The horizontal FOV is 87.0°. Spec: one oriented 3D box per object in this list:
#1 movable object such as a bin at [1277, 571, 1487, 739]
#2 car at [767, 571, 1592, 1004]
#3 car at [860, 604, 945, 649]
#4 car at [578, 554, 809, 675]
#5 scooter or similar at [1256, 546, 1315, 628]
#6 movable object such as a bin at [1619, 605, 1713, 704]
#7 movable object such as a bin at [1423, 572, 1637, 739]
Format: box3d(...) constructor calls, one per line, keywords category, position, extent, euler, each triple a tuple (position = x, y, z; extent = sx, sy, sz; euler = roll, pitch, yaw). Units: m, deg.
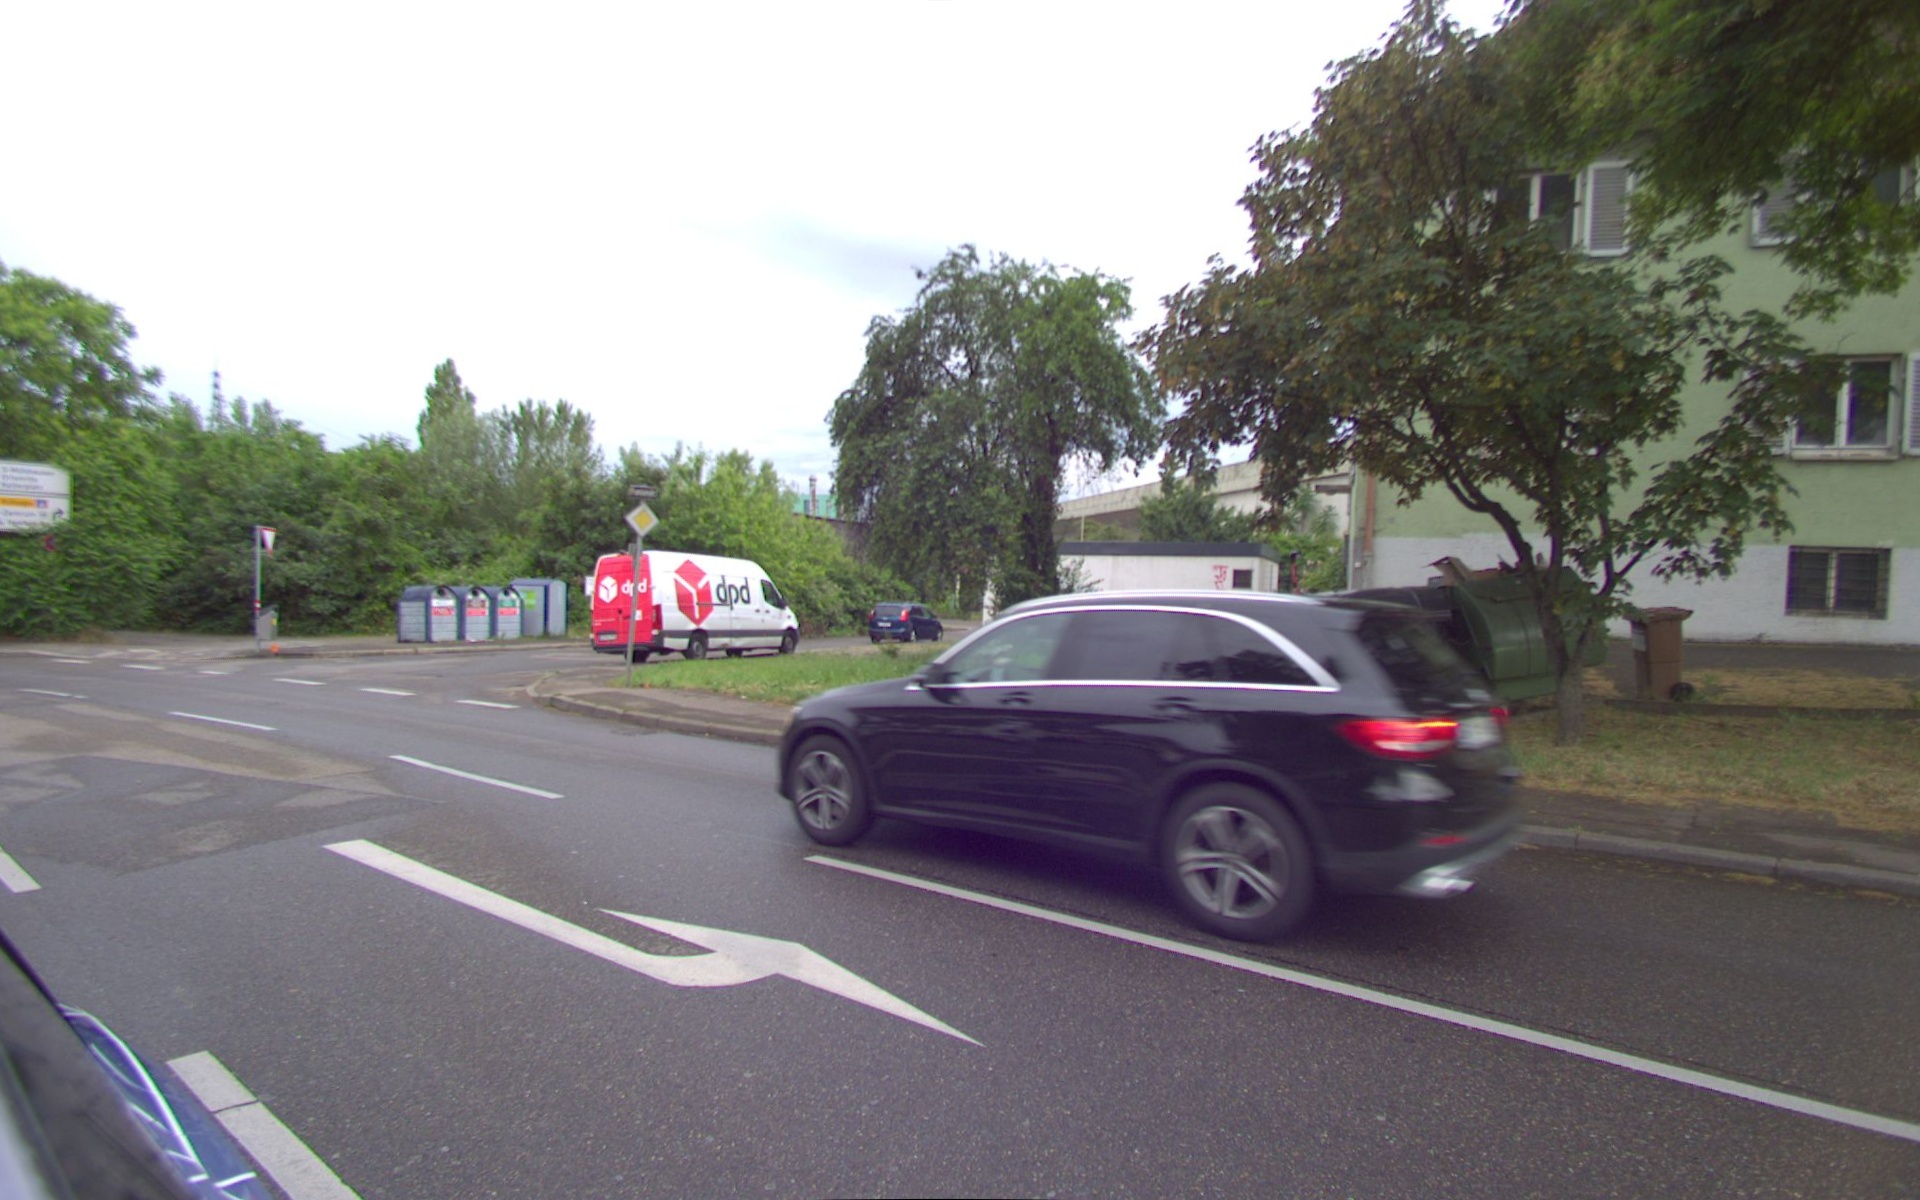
box3d(category="movable object such as a bin", position=(4.251, 0.502, 10.329), extent=(1.440, 1.448, 1.296), euler=(-5, 3, -6))
box3d(category="car", position=(1.011, 0.728, 6.003), extent=(4.431, 1.638, 1.895), euler=(-1, -1, 40))
box3d(category="car", position=(-2.228, 0.997, 40.396), extent=(1.984, 1.642, 4.228), euler=(1, 1, 18))
box3d(category="car", position=(-6.508, 0.300, 25.906), extent=(2.246, 2.675, 6.777), euler=(1, 0, 20))
box3d(category="scooter or similar", position=(5.527, -0.239, 17.134), extent=(0.529, 1.283, 1.507), euler=(1, 4, 35))
box3d(category="movable object such as a bin", position=(7.208, 0.535, 10.334), extent=(0.723, 0.964, 0.551), euler=(1, 0, 41))
box3d(category="movable object such as a bin", position=(5.706, 0.512, 10.220), extent=(1.440, 1.448, 1.102), euler=(-5, 3, -6))
